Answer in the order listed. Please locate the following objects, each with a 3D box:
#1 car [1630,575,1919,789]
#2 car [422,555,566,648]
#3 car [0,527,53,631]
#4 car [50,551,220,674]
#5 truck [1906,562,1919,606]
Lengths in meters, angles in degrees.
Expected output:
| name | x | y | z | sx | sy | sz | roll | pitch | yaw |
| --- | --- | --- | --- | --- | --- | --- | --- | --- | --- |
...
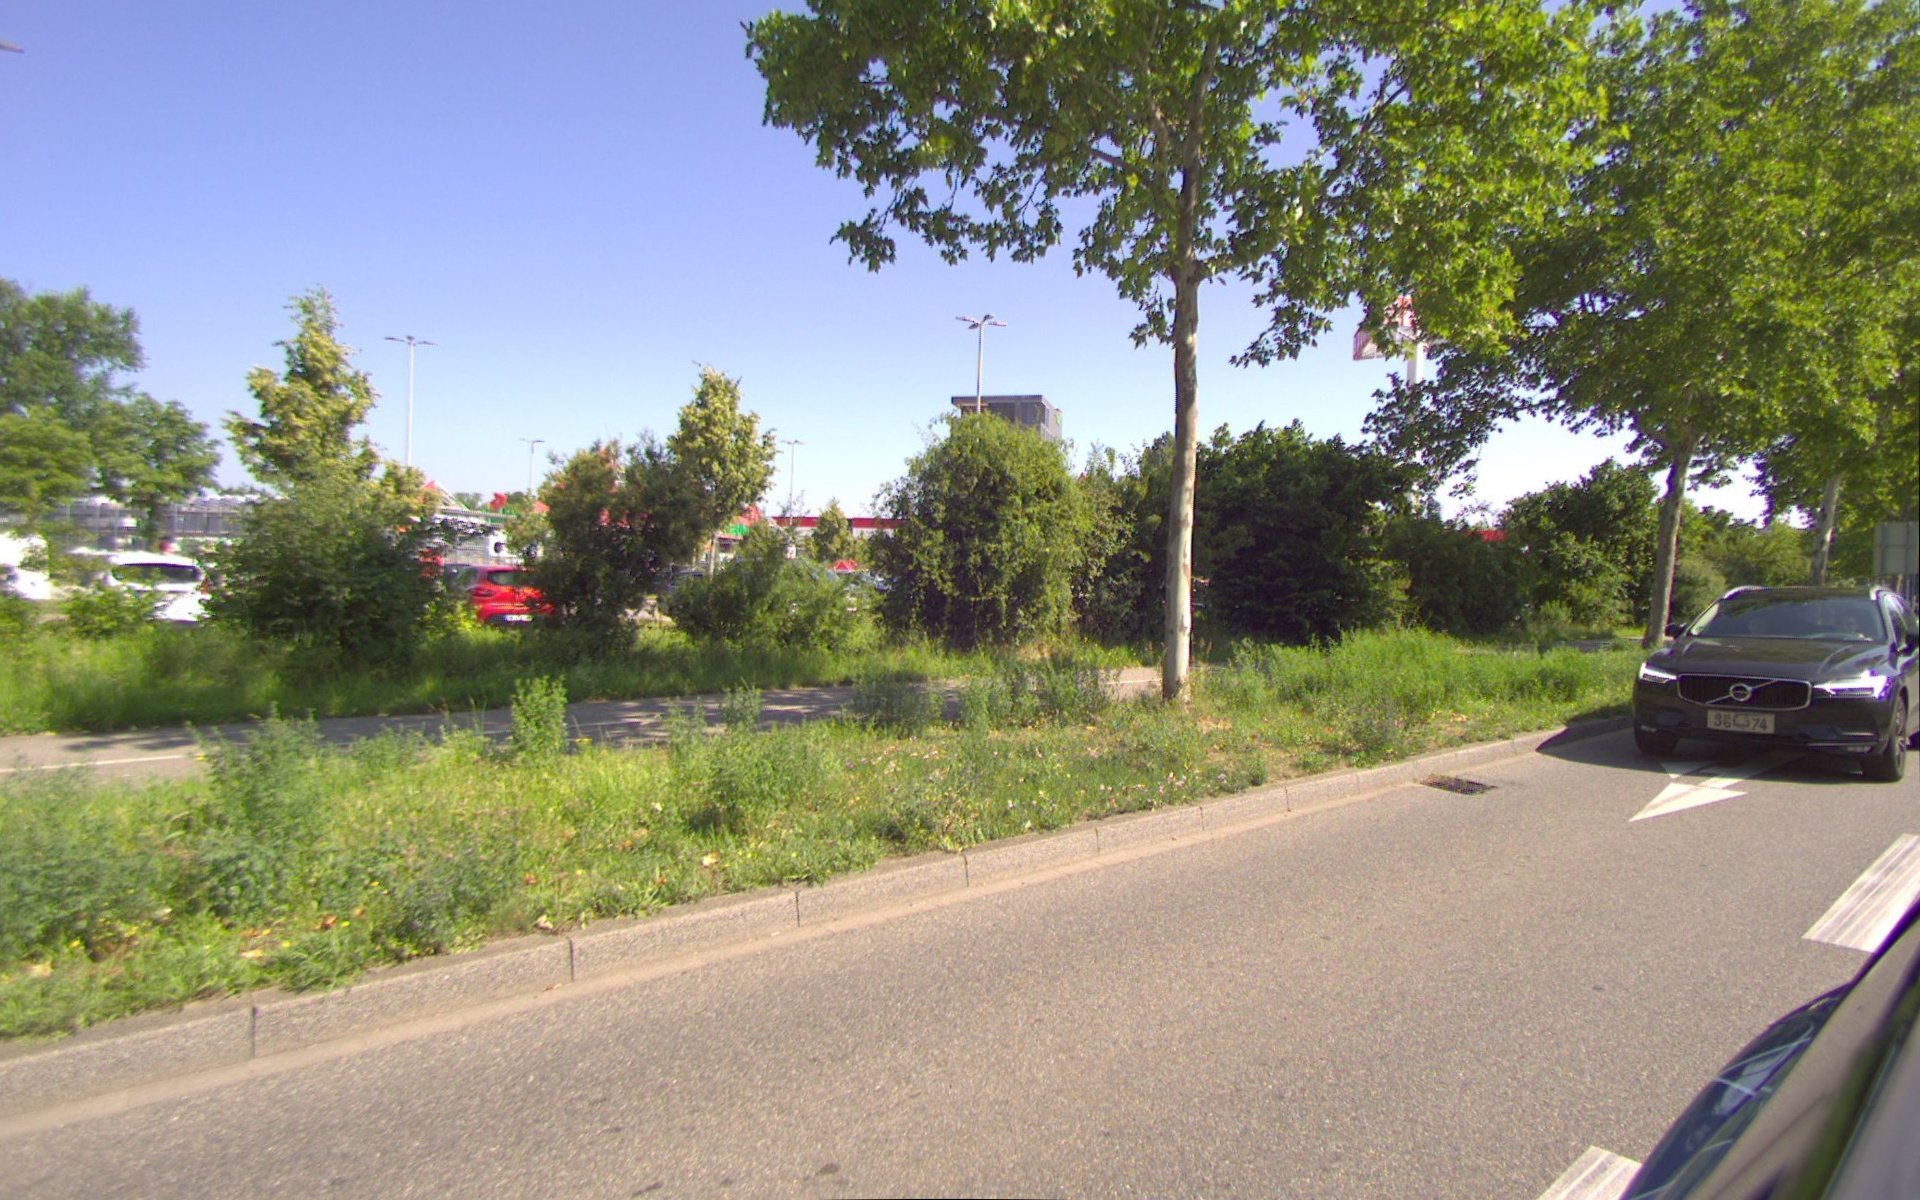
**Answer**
| name | x | y | z | sx | sy | sz | roll | pitch | yaw |
| --- | --- | --- | --- | --- | --- | --- | --- | --- | --- |
| car | 8.419 | 0.607 | 10.000 | 4.486 | 1.643 | 1.922 | 0 | 1 | -42 |
| car | -9.513 | -0.010 | 20.527 | 1.658 | 1.691 | 3.828 | 0 | 1 | -41 |
| car | -15.254 | -0.333 | 15.601 | 1.802 | 1.476 | 3.991 | 0 | 1 | -43 |
| car | -13.749 | 0.142 | 16.783 | 3.987 | 1.794 | 1.725 | 1 | 1 | 44 |
| truck | 88.610 | -1.469 | 92.355 | 2.728 | 3.944 | 5.773 | 1 | 1 | 37 |
